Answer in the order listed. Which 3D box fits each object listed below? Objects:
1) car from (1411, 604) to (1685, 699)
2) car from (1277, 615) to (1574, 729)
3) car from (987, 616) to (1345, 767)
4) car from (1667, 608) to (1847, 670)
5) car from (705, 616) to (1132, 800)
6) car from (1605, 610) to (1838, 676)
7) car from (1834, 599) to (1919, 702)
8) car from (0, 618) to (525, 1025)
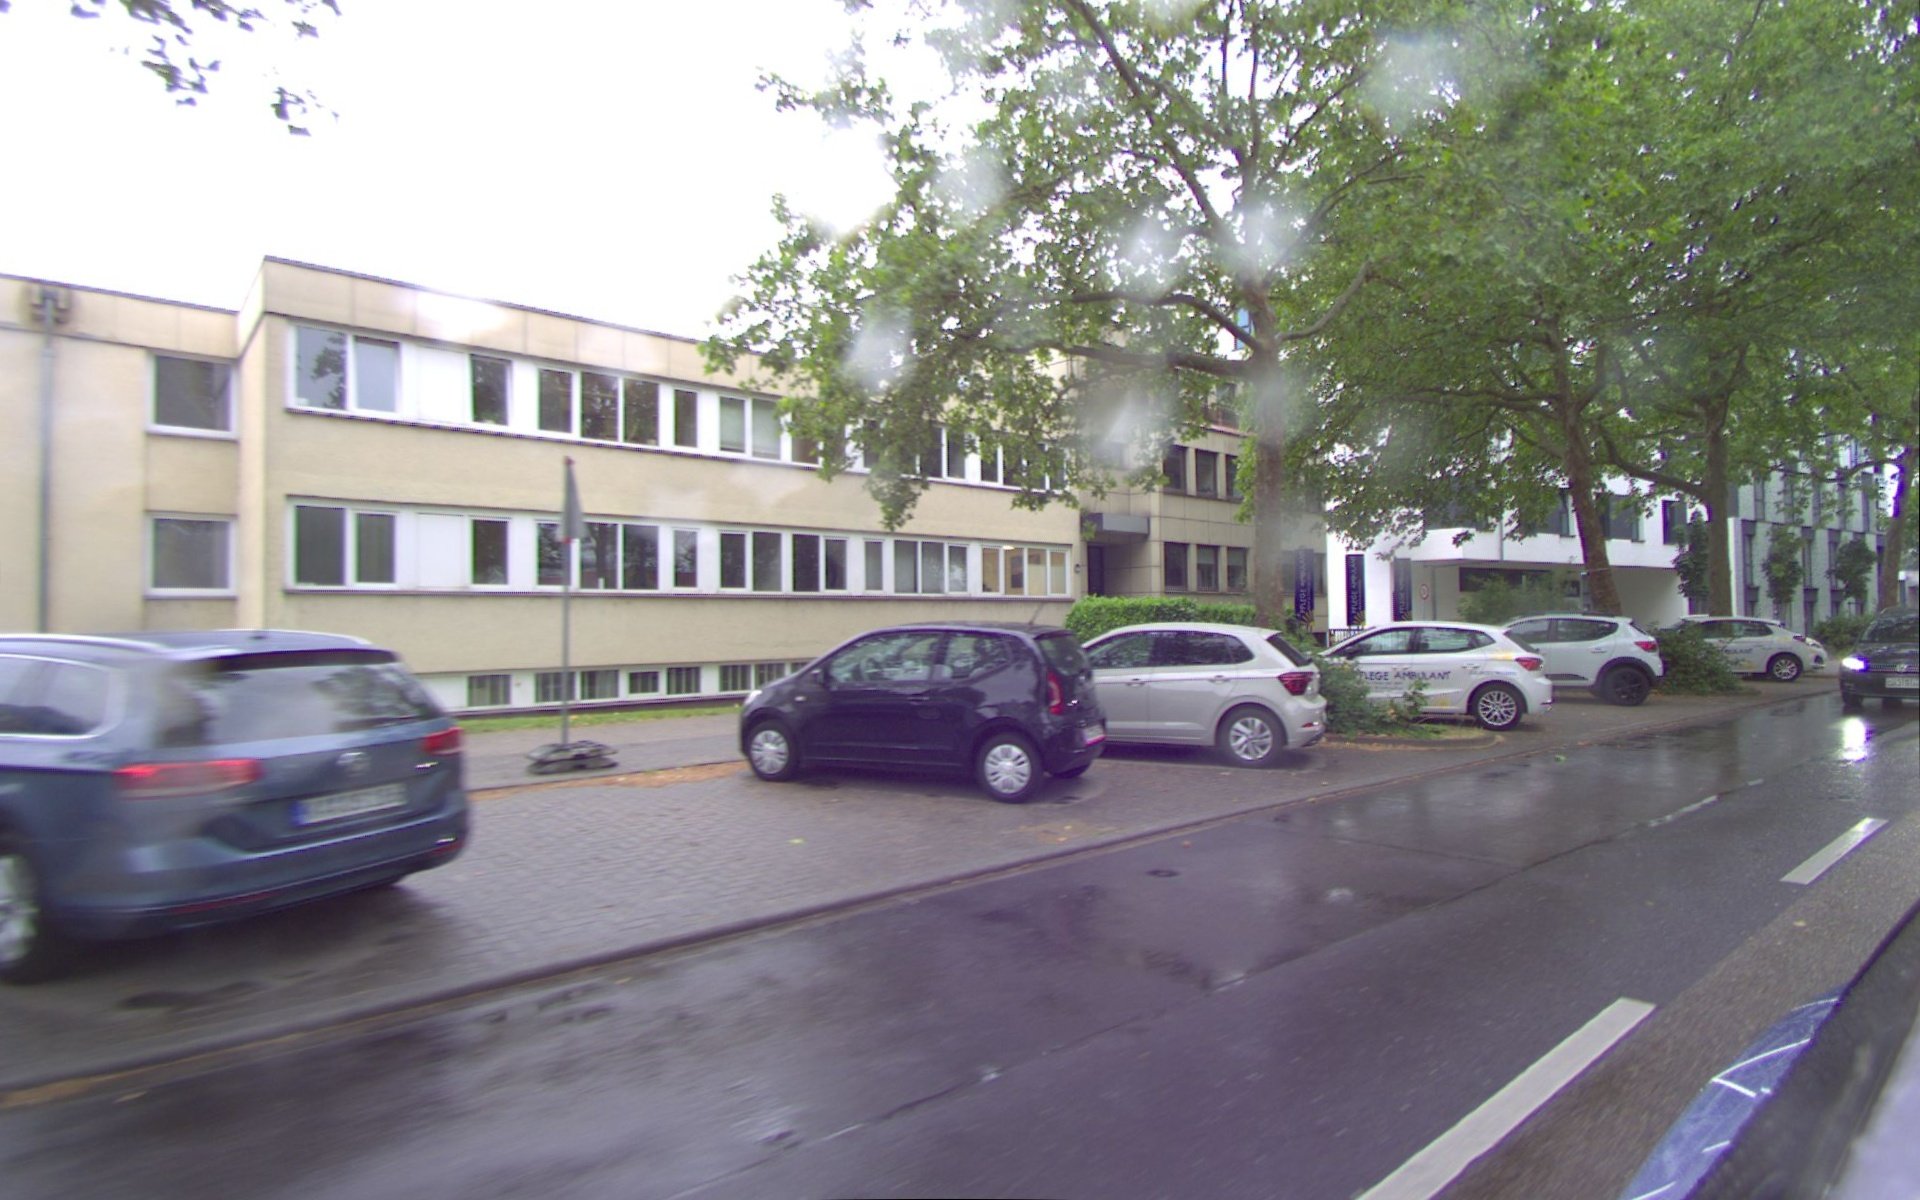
[{"bbox_3d":[10.354,0.869,18.183,3.990,1.559,1.736,-1,-1,22],"label":"car"},{"bbox_3d":[6.588,0.957,14.543,3.656,1.434,1.732,-1,-1,27],"label":"car"},{"bbox_3d":[2.317,0.917,11.302,3.651,1.434,1.762,-1,-1,23],"label":"car"},{"bbox_3d":[20.856,0.983,26.607,3.629,1.524,1.724,0,-2,40],"label":"car"},{"bbox_3d":[-0.377,0.886,9.535,3.651,1.434,1.735,-1,-1,23],"label":"car"},{"bbox_3d":[17.590,0.965,23.633,3.993,1.446,1.735,-1,-1,24],"label":"car"},{"bbox_3d":[17.263,0.789,17.713,5.489,1.615,1.997,0,-2,-39],"label":"car"},{"bbox_3d":[-4.645,0.856,5.492,4.449,1.477,1.734,-1,-1,26],"label":"car"}]
